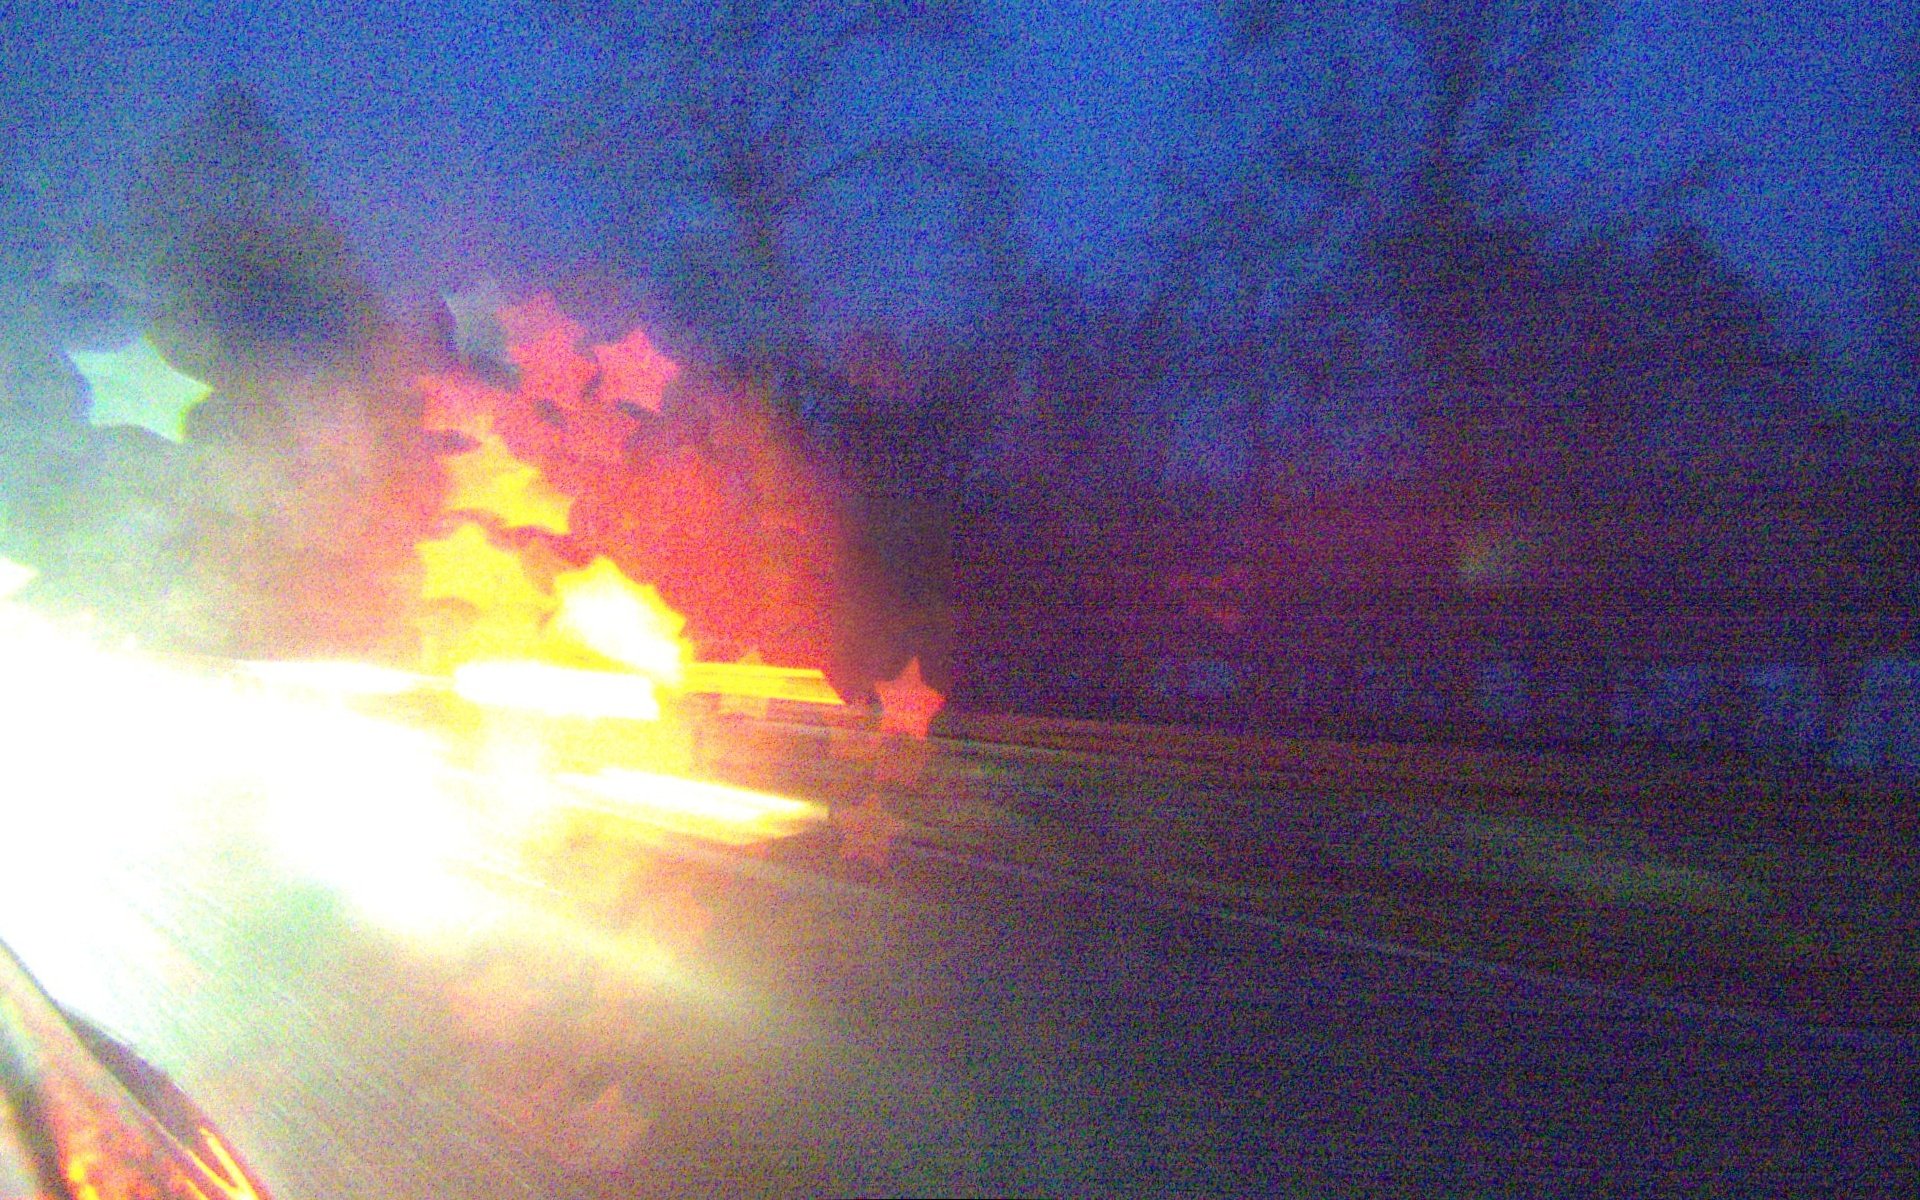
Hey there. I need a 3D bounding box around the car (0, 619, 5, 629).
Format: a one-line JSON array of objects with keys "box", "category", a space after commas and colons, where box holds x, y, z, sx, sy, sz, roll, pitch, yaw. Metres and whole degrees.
[{"box": [-166.978, 4.187, 175.573, 3.600, 1.653, 1.721, 0, 1, 43], "category": "car"}]

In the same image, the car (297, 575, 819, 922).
[{"box": [-2.613, 0.741, 6.245, 3.484, 1.537, 1.547, -2, -4, 41], "category": "car"}]

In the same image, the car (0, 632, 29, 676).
[{"box": [-34.723, 1.938, 36.526, 1.576, 1.522, 3.603, 3, -4, -43], "category": "car"}]
